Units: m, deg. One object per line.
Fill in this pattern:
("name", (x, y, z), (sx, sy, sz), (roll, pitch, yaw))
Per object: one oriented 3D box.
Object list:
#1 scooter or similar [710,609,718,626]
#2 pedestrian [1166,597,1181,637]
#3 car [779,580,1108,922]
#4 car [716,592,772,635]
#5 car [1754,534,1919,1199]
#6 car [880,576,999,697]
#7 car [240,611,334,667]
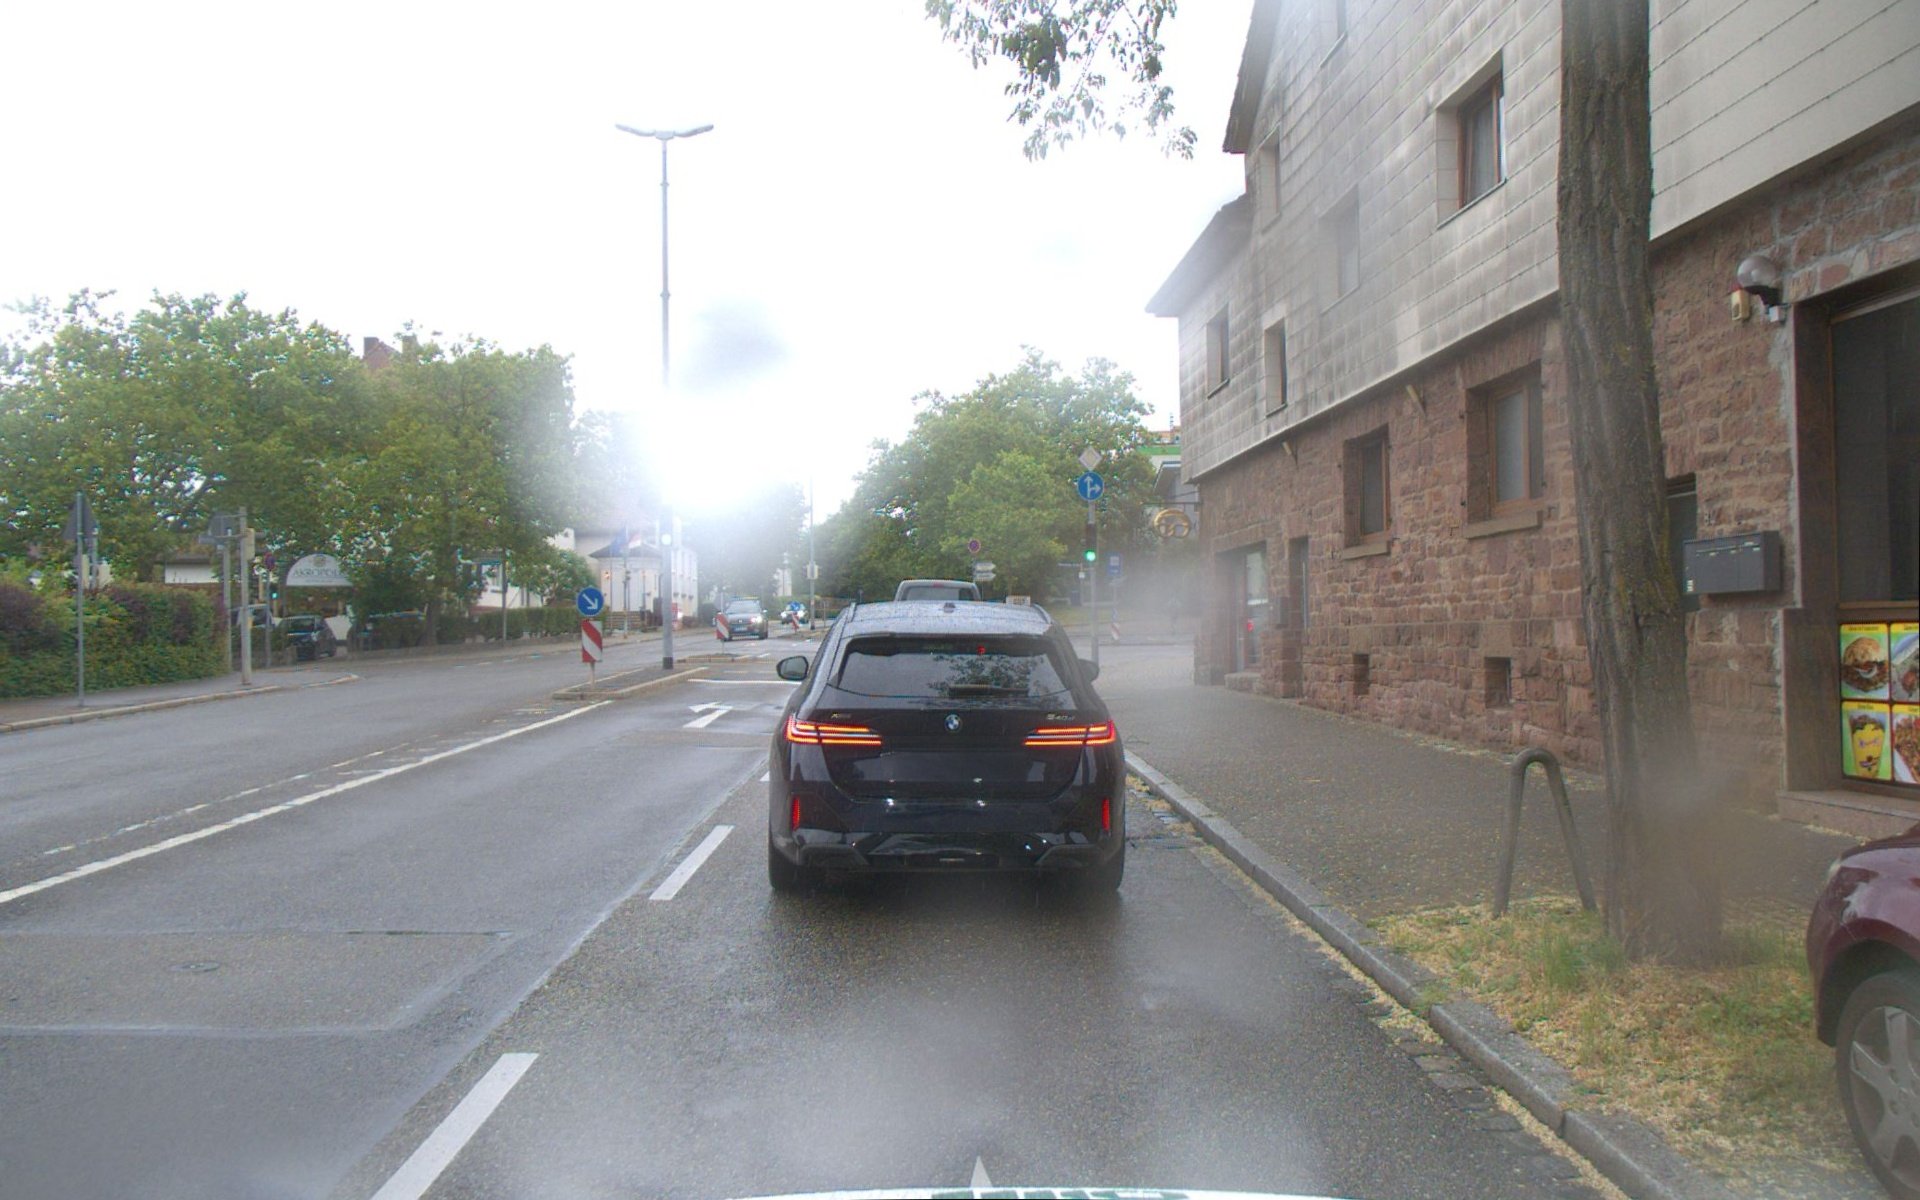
("scooter or similar", (-15.568, 1.104, 104.672), (0.382, 1.083, 1.409), (1, -1, -5))
("pedestrian", (8.935, 0.705, 69.203), (0.588, 1.645, 0.526), (1, -1, 6))
("car", (-0.180, 0.715, 9.369), (1.494, 1.561, 3.529), (1, -1, -4))
("car", (-8.555, 0.514, 65.837), (1.861, 1.605, 4.499), (-1, 1, -4))
("car", (3.048, 0.583, 2.635), (1.578, 1.530, 3.753), (1, -2, -4))
("car", (-0.406, 0.586, 27.457), (1.776, 1.840, 3.753), (1, -1, -4))
("car", (-23.114, 1.297, 56.947), (1.772, 1.578, 3.999), (1, 3, -3))
